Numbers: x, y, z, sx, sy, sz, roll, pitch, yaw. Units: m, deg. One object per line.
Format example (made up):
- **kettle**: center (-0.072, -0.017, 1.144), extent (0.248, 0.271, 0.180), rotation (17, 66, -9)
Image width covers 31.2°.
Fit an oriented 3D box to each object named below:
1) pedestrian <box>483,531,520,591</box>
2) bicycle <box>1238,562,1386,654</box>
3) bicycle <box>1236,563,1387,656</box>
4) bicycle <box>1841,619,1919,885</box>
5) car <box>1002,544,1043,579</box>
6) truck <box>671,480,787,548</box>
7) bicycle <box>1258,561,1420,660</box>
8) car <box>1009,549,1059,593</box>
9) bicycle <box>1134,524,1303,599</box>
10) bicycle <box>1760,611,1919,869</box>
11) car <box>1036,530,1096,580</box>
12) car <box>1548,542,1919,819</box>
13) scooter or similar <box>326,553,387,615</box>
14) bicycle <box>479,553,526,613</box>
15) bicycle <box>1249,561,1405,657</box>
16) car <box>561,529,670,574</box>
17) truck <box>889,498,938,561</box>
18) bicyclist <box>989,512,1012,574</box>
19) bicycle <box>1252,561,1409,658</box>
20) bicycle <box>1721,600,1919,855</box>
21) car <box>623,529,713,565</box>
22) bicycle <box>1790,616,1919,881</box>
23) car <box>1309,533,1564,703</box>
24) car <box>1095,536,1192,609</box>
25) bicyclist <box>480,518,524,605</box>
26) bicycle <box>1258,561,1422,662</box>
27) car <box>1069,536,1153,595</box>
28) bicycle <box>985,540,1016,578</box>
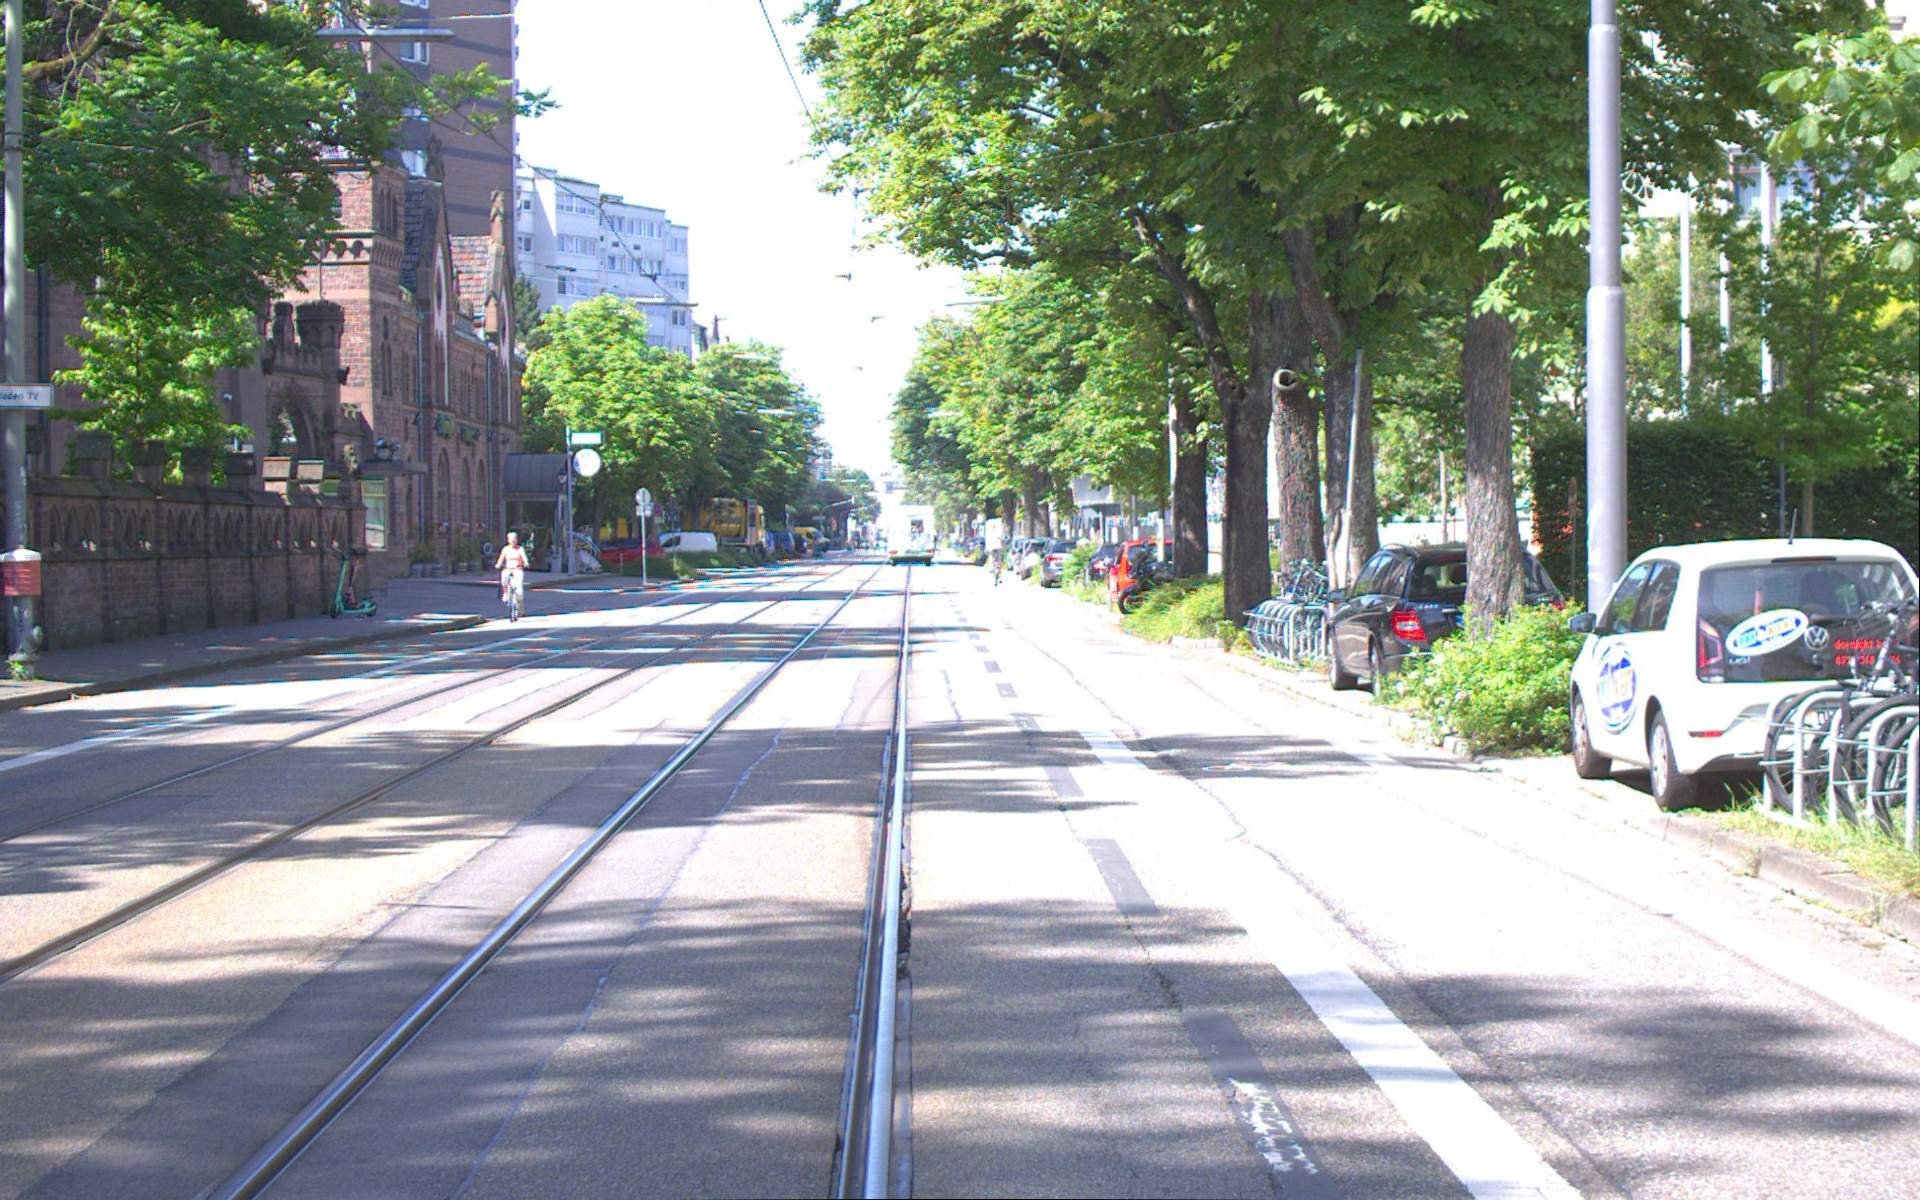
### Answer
- **pedestrian**: center (-11.712, -1.005, 87.852), extent (0.883, 1.507, 1.476), rotation (0, 1, -9)
- **bicycle**: center (4.249, 0.098, 41.597), extent (1.724, 1.082, 0.478), rotation (-1, 1, -1)
- **bicycle**: center (4.187, 0.111, 41.023), extent (1.724, 1.082, 0.615), rotation (-1, 1, -1)
- **bicycle**: center (4.746, 0.626, 14.641), extent (1.792, 1.082, 0.726), rotation (-1, 1, -1)
- **car**: center (2.654, -1.649, 146.491), extent (1.630, 1.467, 4.114), rotation (-1, 1, -1)
- **truck**: center (-13.395, -4.981, 200.423), extent (2.816, 3.846, 9.990), rotation (0, 1, 21)
- **bicycle**: center (4.265, 0.114, 38.750), extent (1.724, 1.082, 0.697), rotation (-1, 1, -1)
- **car**: center (2.580, -1.035, 120.875), extent (1.630, 1.467, 4.114), rotation (-1, 1, -1)
- **bicycle**: center (4.673, -0.698, 62.372), extent (3.028, 1.327, 1.041), rotation (0, 1, 3)
- **bicycle**: center (4.708, 0.625, 15.849), extent (1.872, 1.137, 0.686), rotation (-1, 1, -1)
- **car**: center (3.168, -1.358, 102.979), extent (1.630, 1.467, 4.114), rotation (0, 1, -1)
- **car**: center (4.566, 0.401, 20.162), extent (1.630, 1.467, 3.630), rotation (0, 1, 0)
- **scooter or similar**: center (-11.140, -0.304, 63.501), extent (0.333, 1.125, 1.184), rotation (0, 1, 38)
- **bicycle**: center (-8.970, -0.345, 67.501), extent (0.662, 1.150, 2.014), rotation (0, 1, 0)
- **bicycle**: center (4.259, 0.097, 39.966), extent (1.724, 1.082, 0.589), rotation (-1, 1, -1)
- **car**: center (-13.897, -1.958, 138.726), extent (3.988, 1.804, 1.889), rotation (-1, 1, -38)
- **truck**: center (-2.348, -3.559, 172.917), extent (2.402, 3.098, 6.038), rotation (0, 1, -1)
- **bicyclist**: center (1.218, -1.729, 103.952), extent (0.636, 1.865, 1.024), rotation (-1, 1, -1)
- **bicycle**: center (4.236, 0.101, 39.383), extent (1.724, 1.082, 0.570), rotation (-1, 1, -1)
- **bicycle**: center (4.703, 0.593, 16.495), extent (1.904, 1.165, 0.819), rotation (-1, 1, -1)
- **car**: center (-14.598, -2.652, 171.690), extent (3.987, 1.744, 2.000), rotation (-1, 1, -31)
- **bicycle**: center (4.702, 0.639, 15.275), extent (1.849, 1.128, 0.680), rotation (-1, 1, -1)
- **car**: center (4.427, 0.117, 32.485), extent (1.629, 1.478, 4.274), rotation (0, 1, -3)
- **car**: center (3.791, -0.591, 71.446), extent (1.629, 1.467, 3.720), rotation (-1, 1, -3)
- **bicyclist**: center (-8.983, -0.763, 67.444), extent (0.725, 1.692, 1.147), rotation (0, 1, -1)
- **bicycle**: center (4.205, 0.121, 38.091), extent (1.724, 1.082, 0.629), rotation (-1, 1, -1)
- **car**: center (3.537, -0.839, 81.299), extent (1.629, 1.350, 3.902), rotation (-1, 1, -3)
- **bicycle**: center (1.211, -1.243, 103.656), extent (0.855, 1.106, 2.140), rotation (0, 1, -1)
